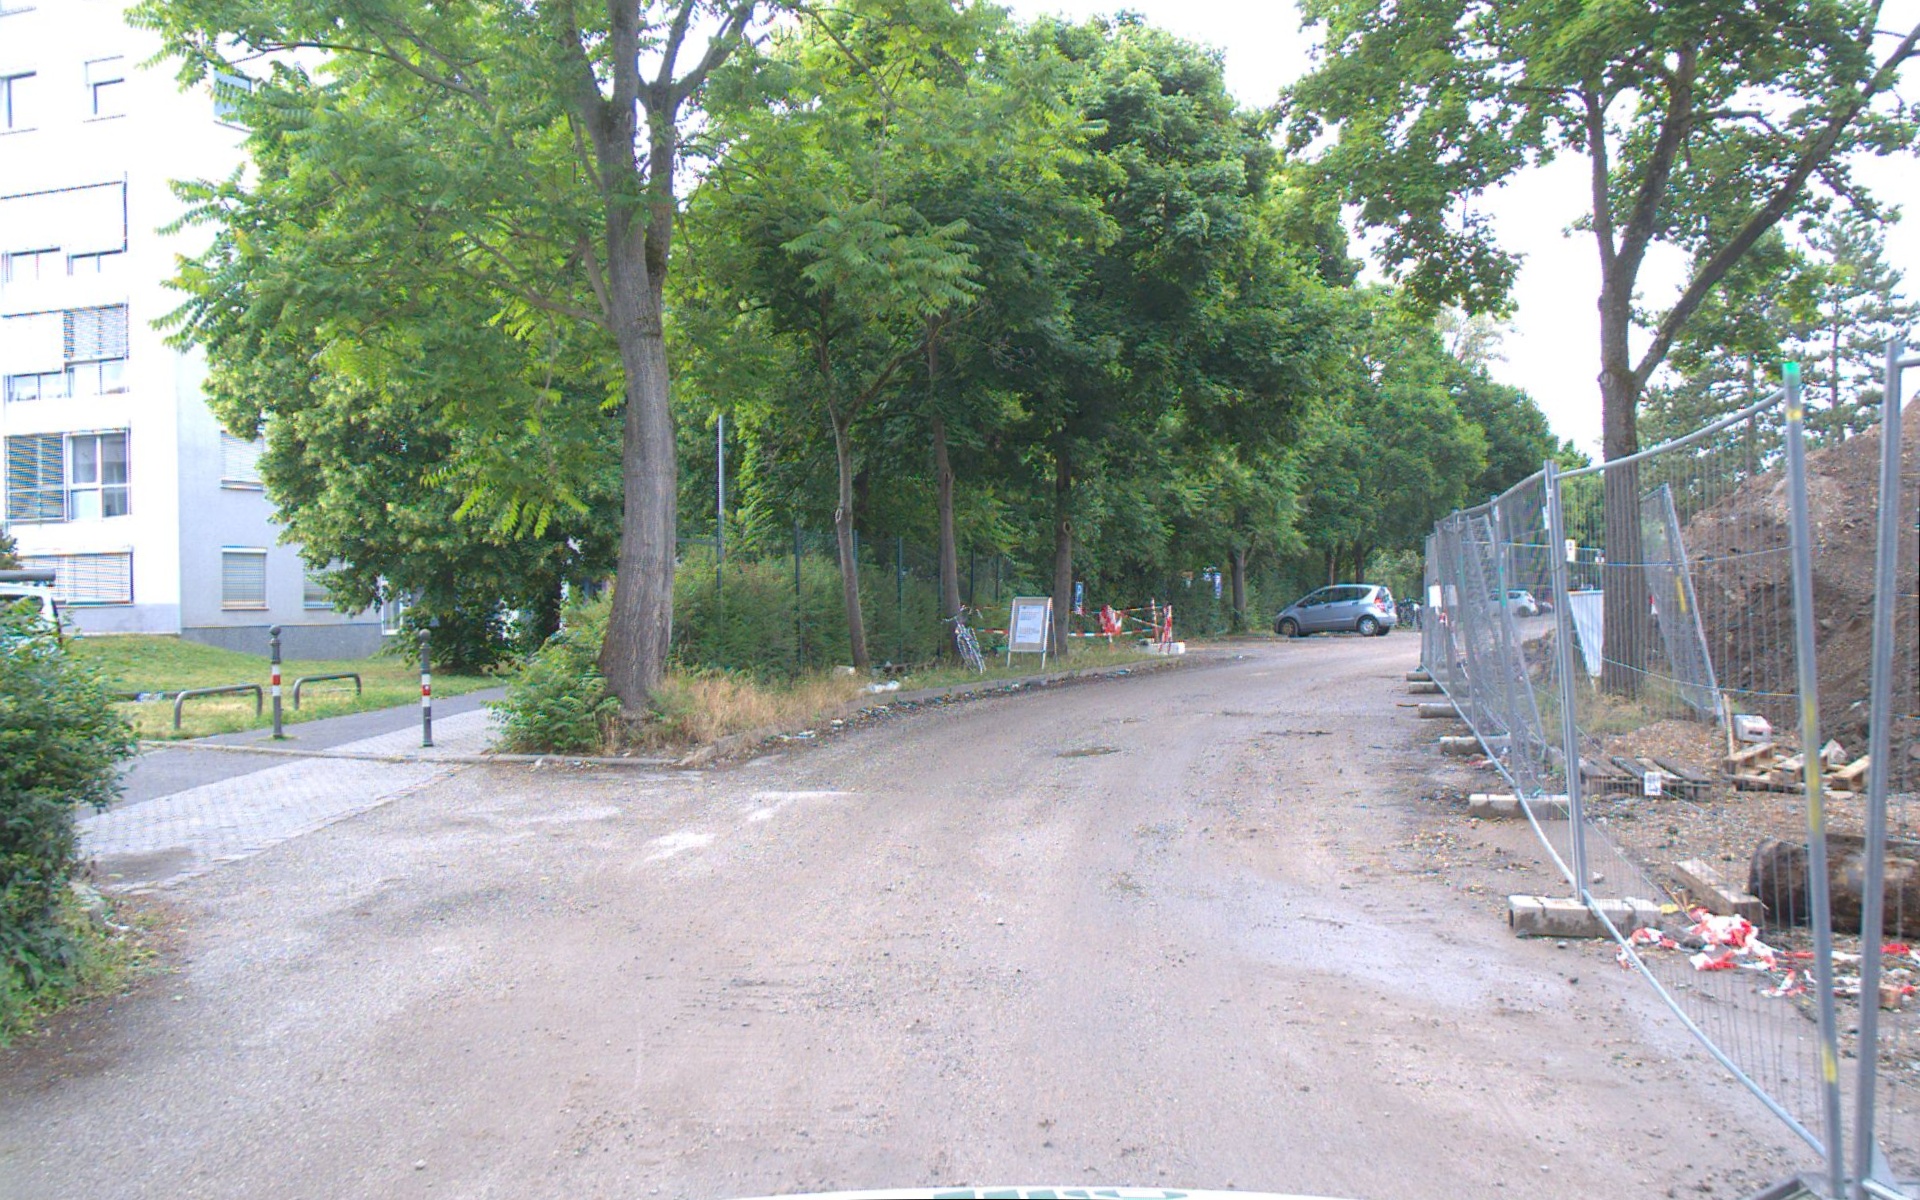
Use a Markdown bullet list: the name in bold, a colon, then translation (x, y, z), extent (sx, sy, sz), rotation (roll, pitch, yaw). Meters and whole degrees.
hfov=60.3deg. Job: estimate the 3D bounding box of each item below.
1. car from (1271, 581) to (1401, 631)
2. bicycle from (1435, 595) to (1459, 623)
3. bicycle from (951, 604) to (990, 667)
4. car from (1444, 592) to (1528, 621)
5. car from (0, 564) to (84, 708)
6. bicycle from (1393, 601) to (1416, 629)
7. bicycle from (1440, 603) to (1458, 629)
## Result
- **car**: translation (11.849, 0.194, 52.157), extent (3.629, 1.527, 1.865), rotation (-1, 0, 29)
- **bicycle**: translation (17.838, 0.337, 60.601), extent (0.754, 0.995, 2.033), rotation (-1, 0, 14)
- **bicycle**: translation (0.161, 0.535, 25.117), extent (0.409, 0.921, 1.155), rotation (-1, 0, 9)
- **car**: translation (28.693, 0.334, 90.236), extent (3.909, 1.534, 1.998), rotation (-1, 0, -5)
- **car**: translation (-14.809, 0.544, 23.148), extent (1.810, 2.049, 4.351), rotation (-2, -1, 21)
- **bicycle**: translation (16.367, 0.530, 60.925), extent (0.754, 0.995, 2.033), rotation (-1, 0, 14)
- **bicycle**: translation (19.523, 0.642, 66.026), extent (0.576, 0.995, 2.033), rotation (-1, 0, 14)
